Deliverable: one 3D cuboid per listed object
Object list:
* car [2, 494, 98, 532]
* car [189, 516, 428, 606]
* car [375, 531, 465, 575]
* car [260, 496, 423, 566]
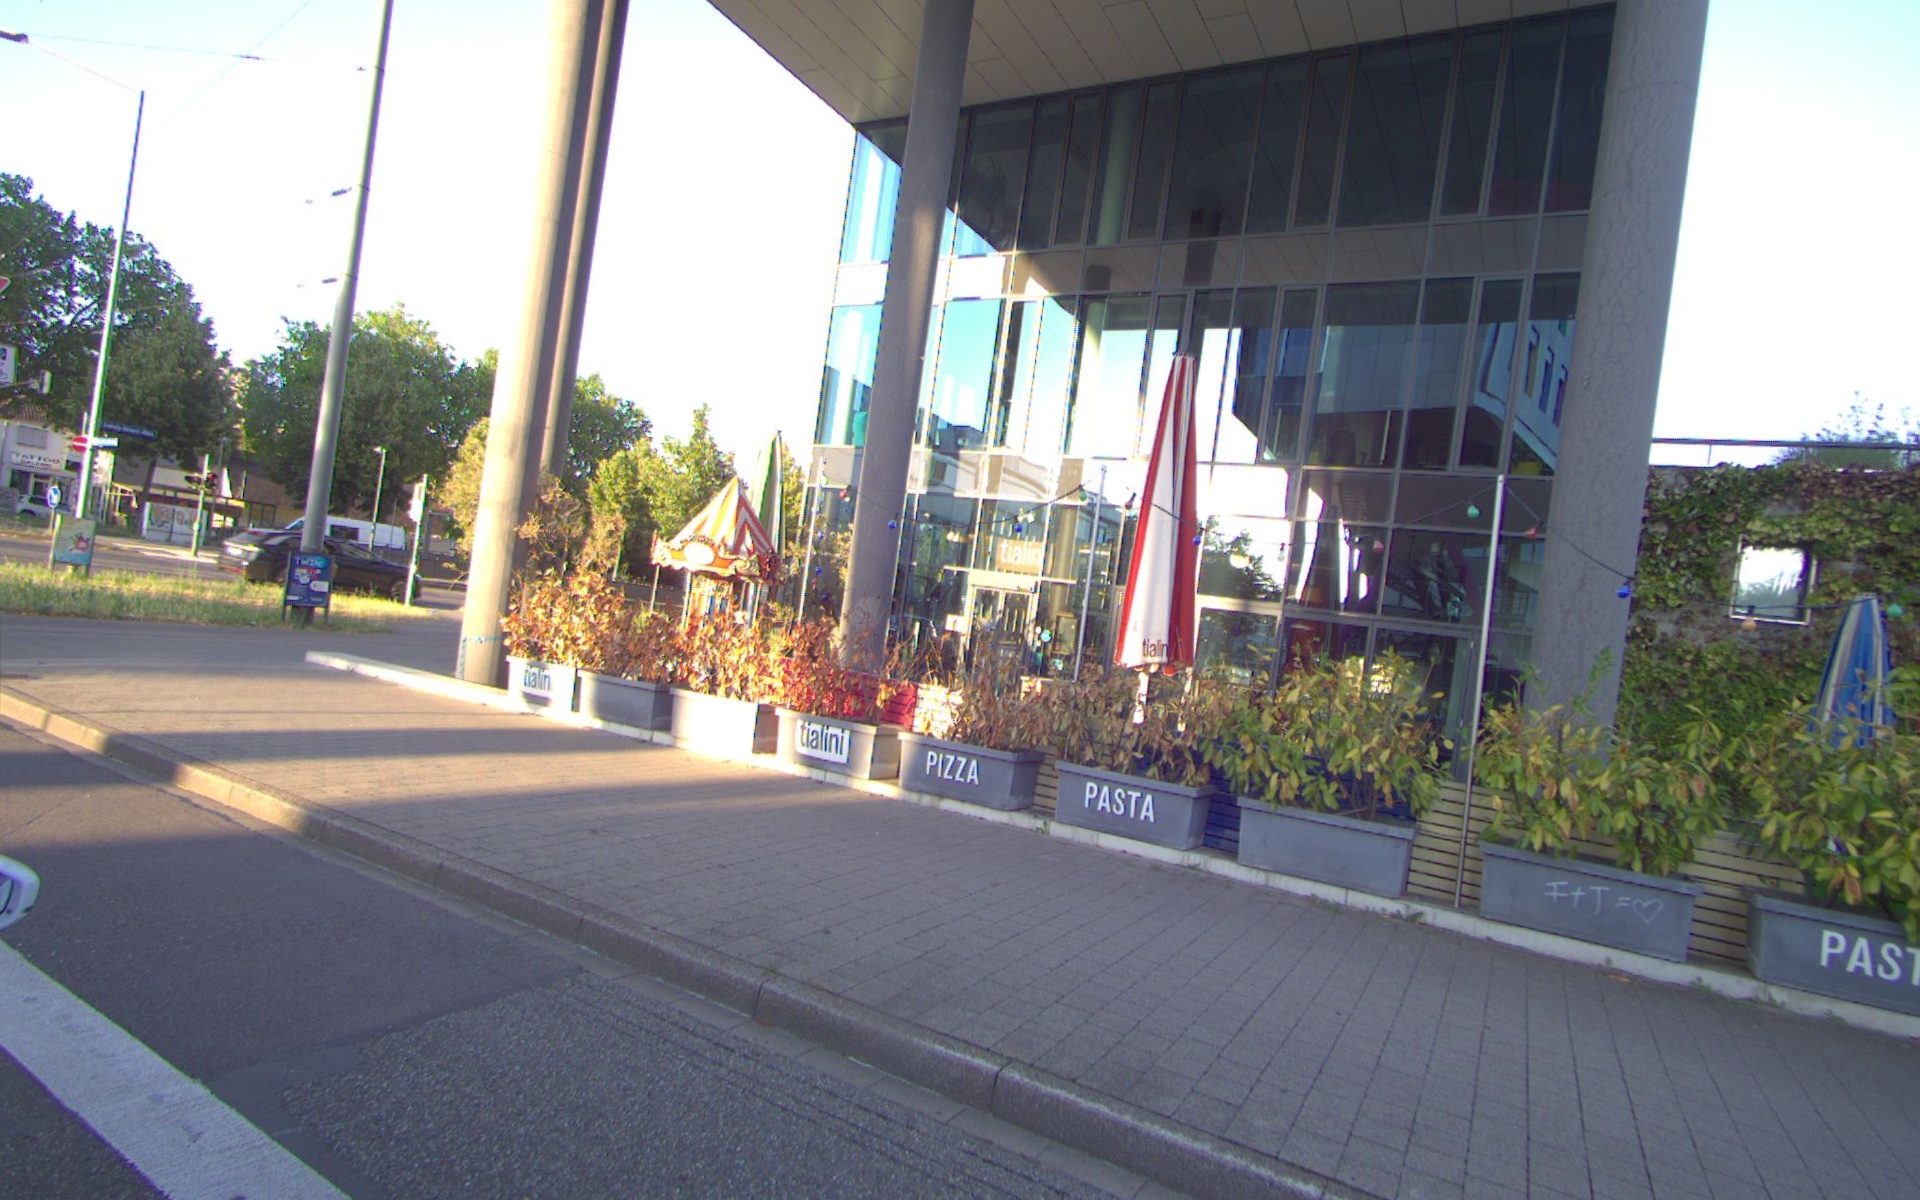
[{"bbox_3d":[-50.506,-4.814,55.884,1.641,1.456,3.736,6,-2,41],"label":"car"},{"bbox_3d":[-17.254,-0.974,26.938,1.966,1.633,4.920,7,-2,29],"label":"car"},{"bbox_3d":[-42.619,-3.694,79.530,2.197,2.581,5.594,7,-2,39],"label":"car"},{"bbox_3d":[-33.736,-3.706,55.197,2.765,2.666,6.931,6,-2,32],"label":"car"}]
